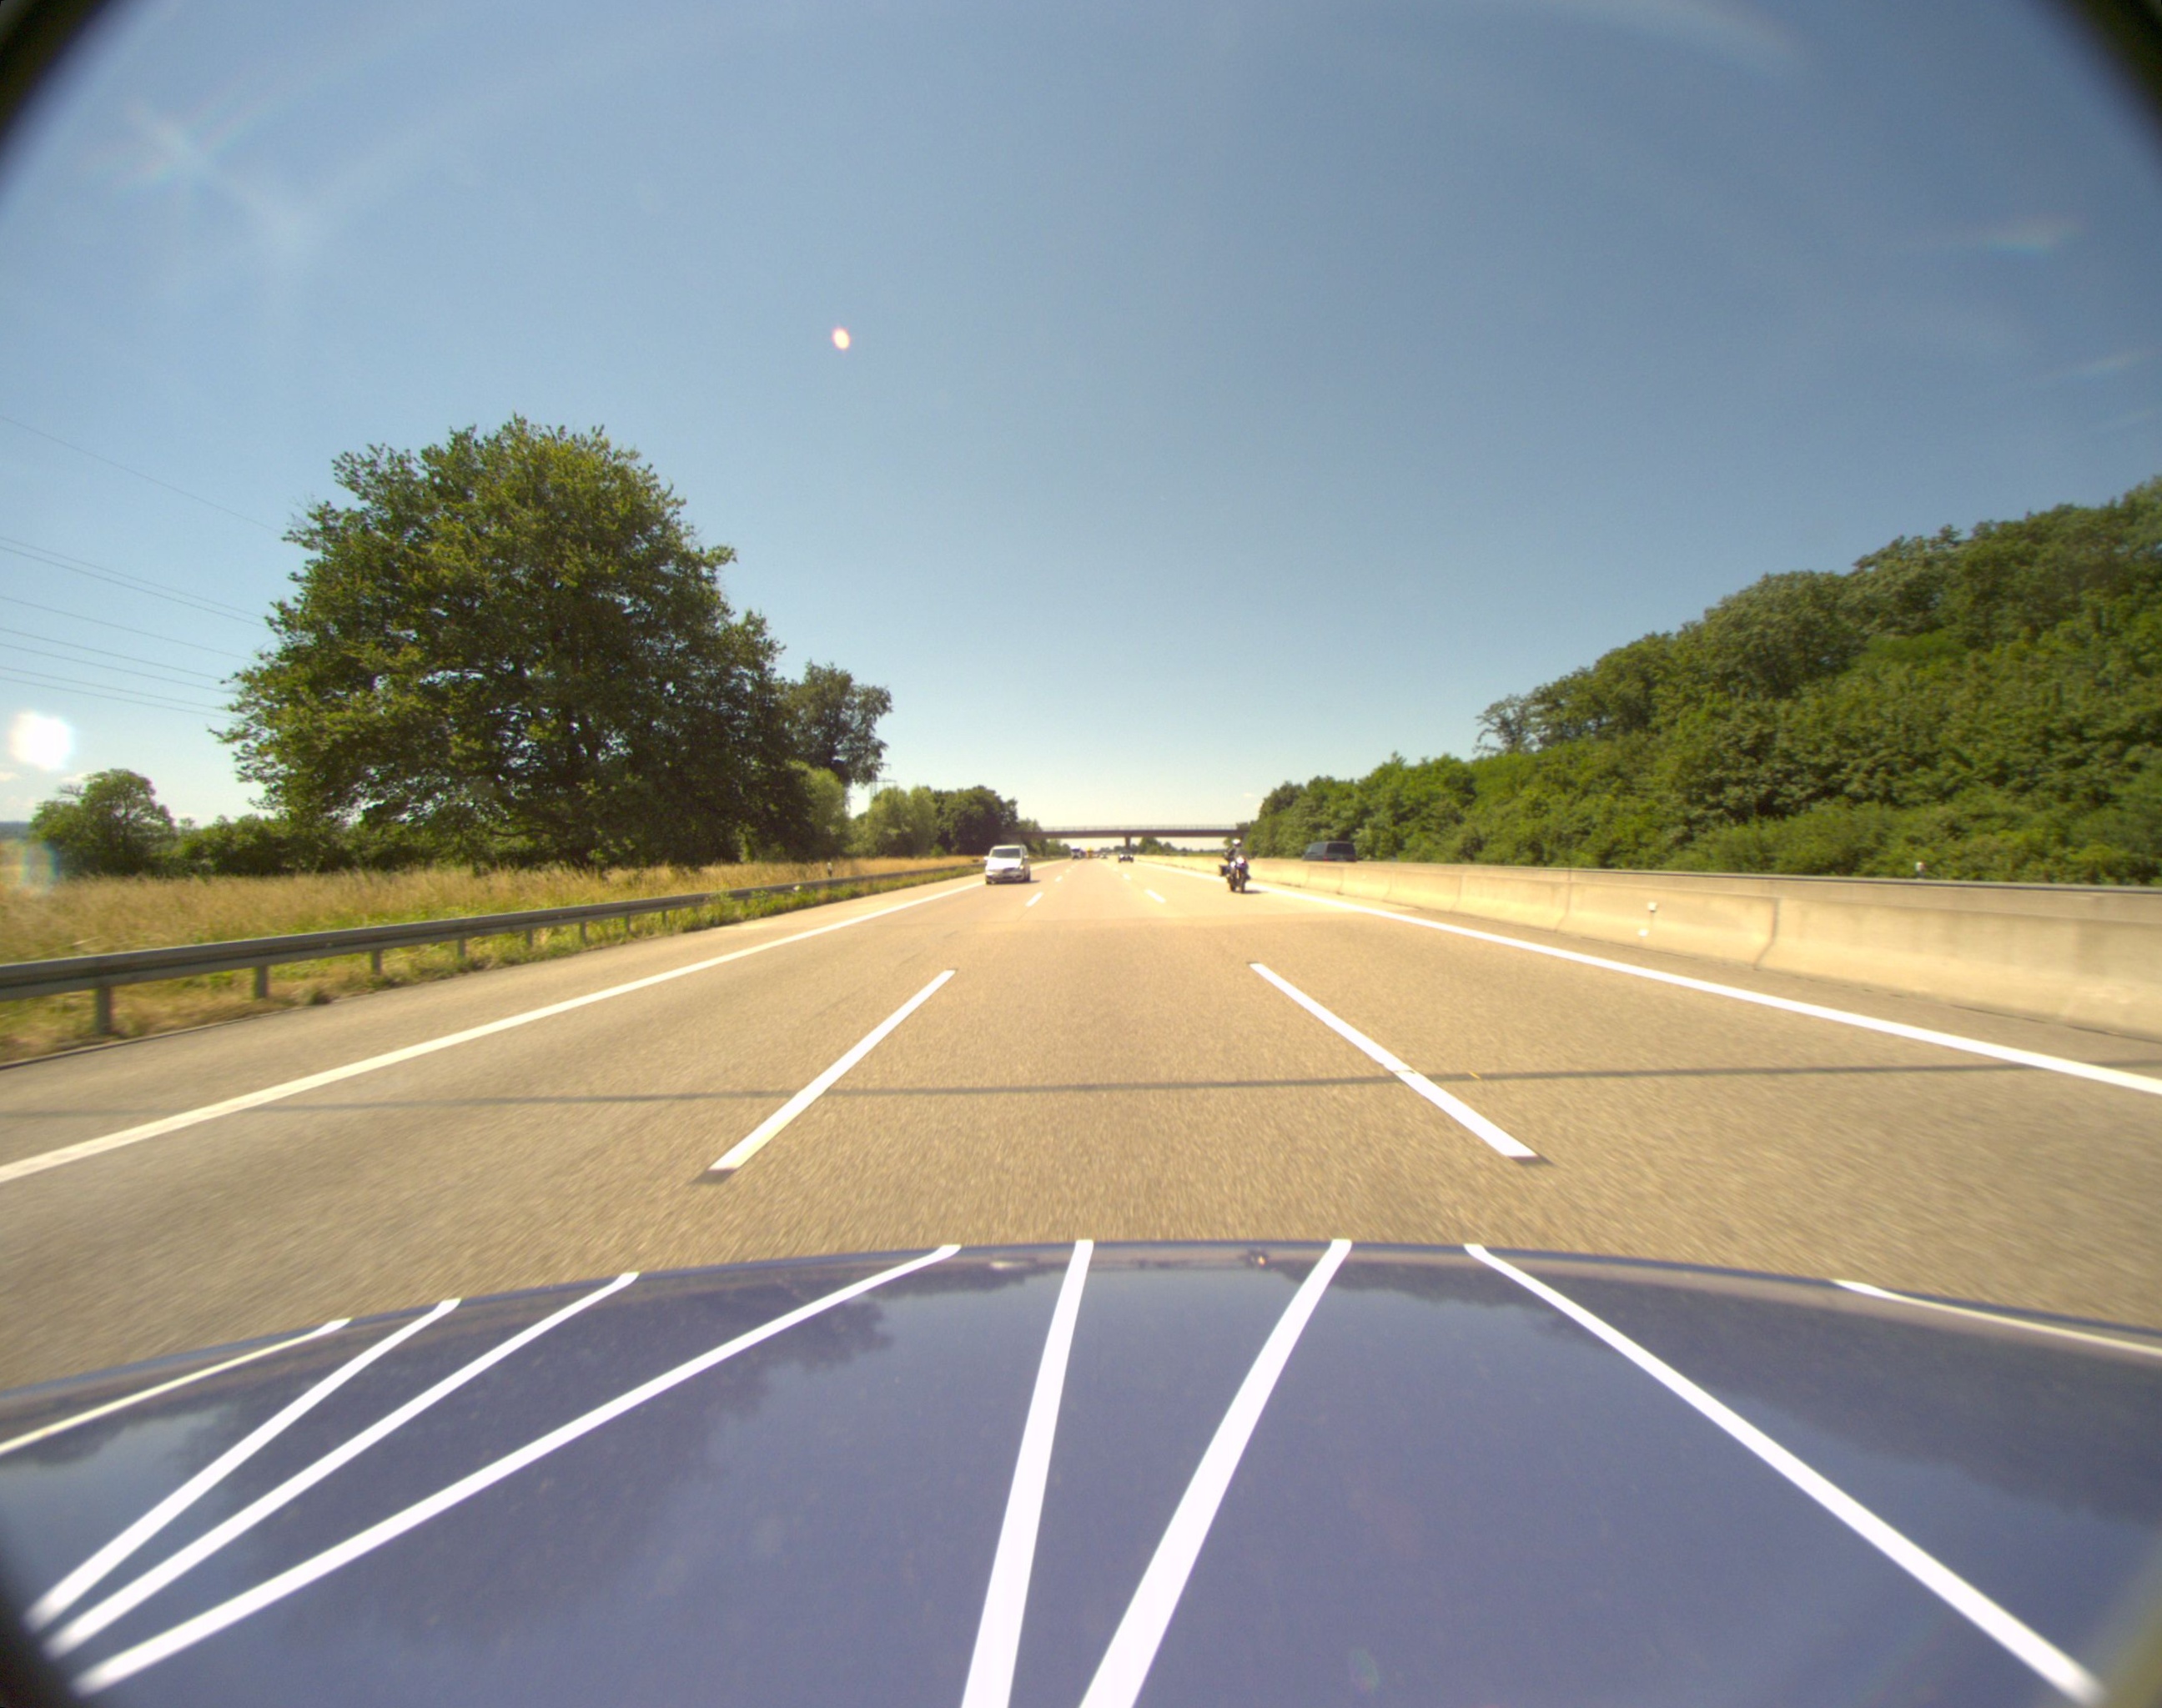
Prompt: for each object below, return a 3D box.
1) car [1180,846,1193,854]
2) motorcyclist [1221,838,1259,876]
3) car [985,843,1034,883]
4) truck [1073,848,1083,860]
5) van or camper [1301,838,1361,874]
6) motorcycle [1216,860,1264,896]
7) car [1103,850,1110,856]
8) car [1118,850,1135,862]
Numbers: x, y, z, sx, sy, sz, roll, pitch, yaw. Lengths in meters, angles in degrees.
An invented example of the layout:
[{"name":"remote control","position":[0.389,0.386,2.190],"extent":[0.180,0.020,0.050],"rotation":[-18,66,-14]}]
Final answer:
[{"name":"car","position":[18.536,-0.735,133.759],"extent":[1.681,1.308,4.860],"rotation":[-1,0,-1]},{"name":"motorcyclist","position":[5.076,0.100,24.311],"extent":[1.027,1.201,0.911],"rotation":[-1,0,1]},{"name":"car","position":[-3.545,0.450,38.802],"extent":[1.884,1.878,5.280],"rotation":[-2,0,1]},{"name":"truck","position":[-0.892,0.125,225.005],"extent":[2.570,3.514,10.101],"rotation":[-1,0,1]},{"name":"van or camper","position":[13.748,0.119,42.097],"extent":[1.852,1.871,4.416],"rotation":[-1,0,0]},{"name":"motorcycle","position":[5.090,0.743,24.490],"extent":[1.024,1.042,2.413],"rotation":[-3,0,1]},{"name":"car","position":[6.537,-0.154,195.024],"extent":[1.586,1.527,3.611],"rotation":[0,1,1]},{"name":"car","position":[5.795,0.277,97.280],"extent":[1.998,1.518,4.000],"rotation":[0,1,1]}]
